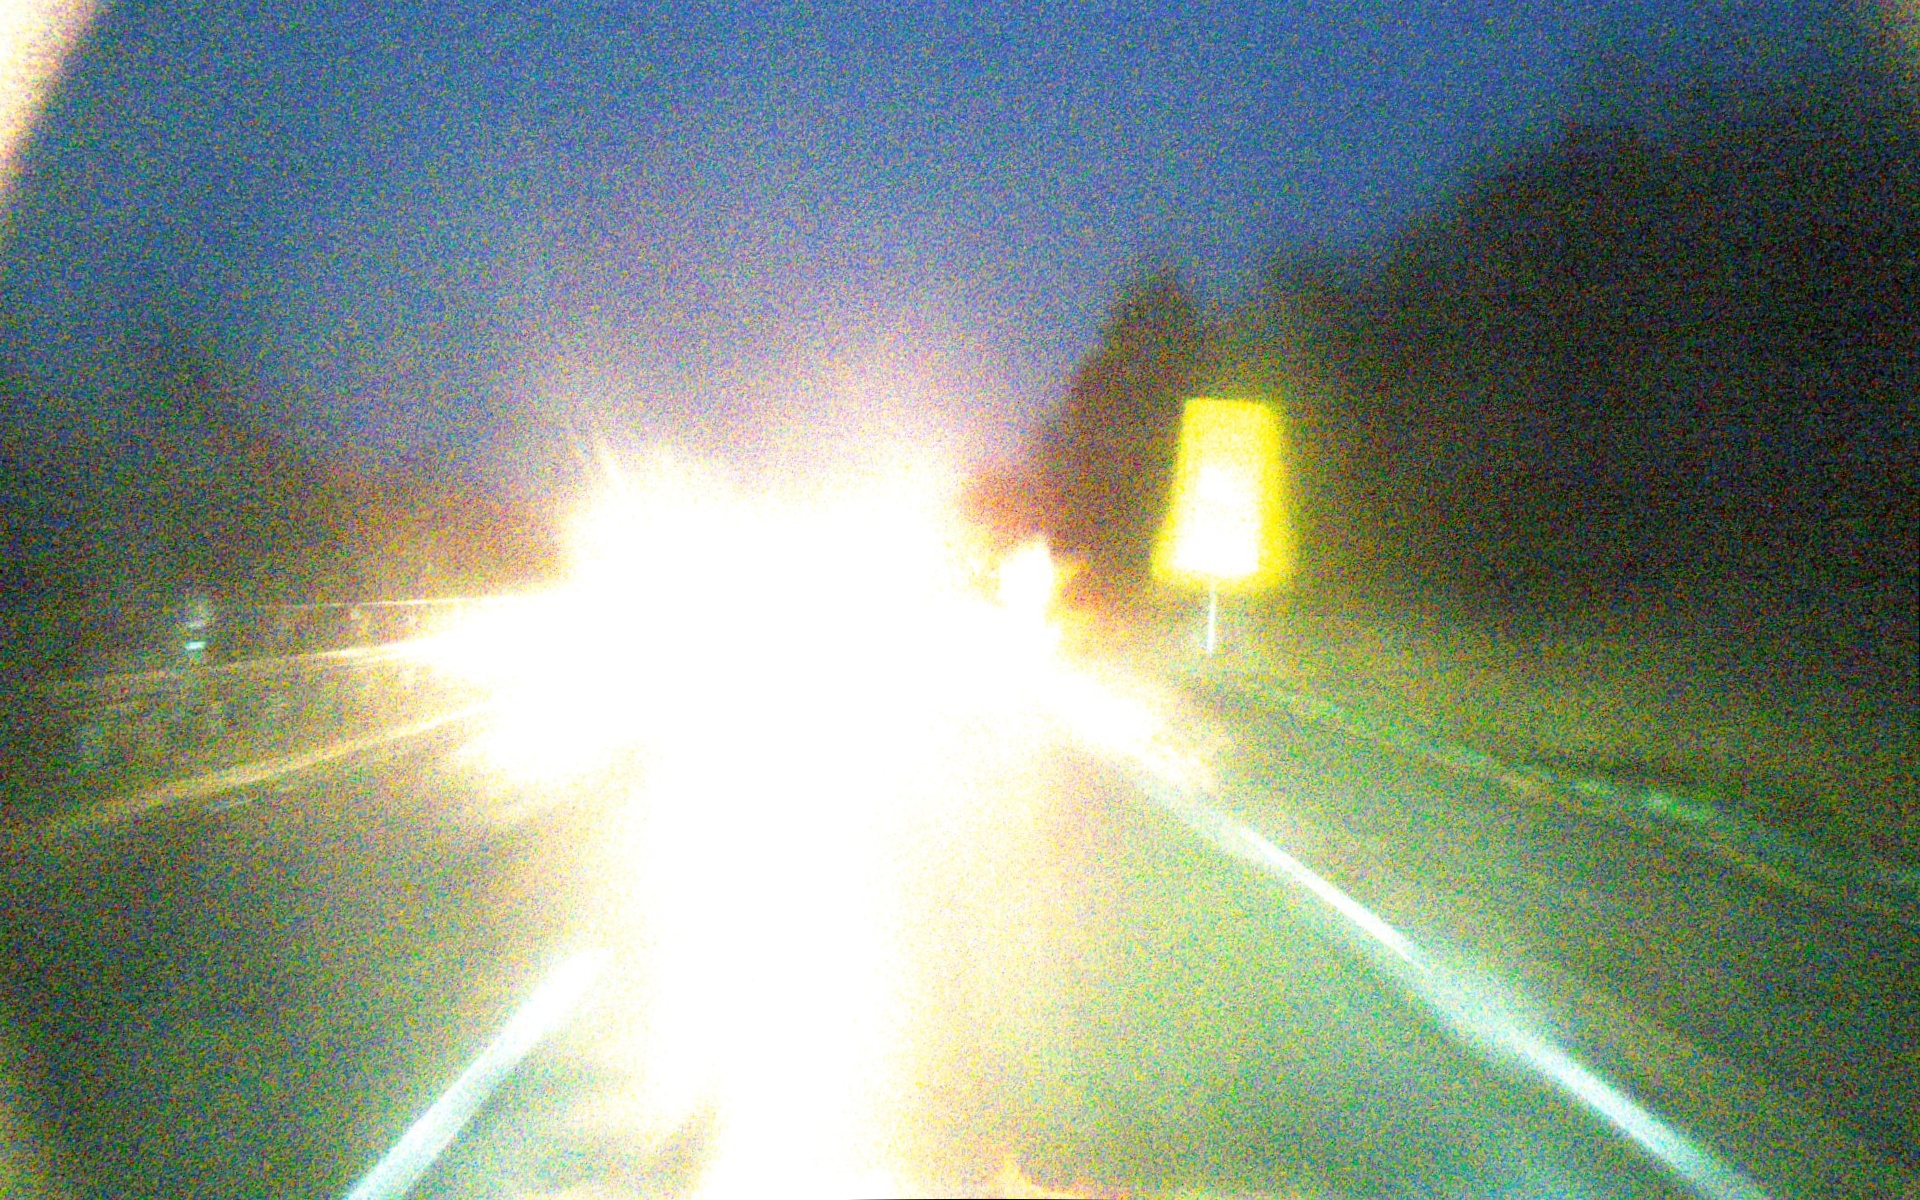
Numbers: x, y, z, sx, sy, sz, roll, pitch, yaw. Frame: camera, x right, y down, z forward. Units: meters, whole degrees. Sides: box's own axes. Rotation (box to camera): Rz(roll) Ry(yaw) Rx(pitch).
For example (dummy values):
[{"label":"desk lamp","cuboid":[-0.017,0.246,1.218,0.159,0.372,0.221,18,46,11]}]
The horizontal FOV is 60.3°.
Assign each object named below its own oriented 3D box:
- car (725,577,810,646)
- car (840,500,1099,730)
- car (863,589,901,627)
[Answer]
[{"label":"car","cuboid":[-4.878,0.251,42.405,1.825,1.571,4.227,2,1,-3]},{"label":"car","cuboid":[-0.112,0.135,20.313,2.662,2.348,6.095,1,0,-4]},{"label":"car","cuboid":[-4.217,0.403,89.913,1.953,1.948,3.999,2,0,-2]}]
